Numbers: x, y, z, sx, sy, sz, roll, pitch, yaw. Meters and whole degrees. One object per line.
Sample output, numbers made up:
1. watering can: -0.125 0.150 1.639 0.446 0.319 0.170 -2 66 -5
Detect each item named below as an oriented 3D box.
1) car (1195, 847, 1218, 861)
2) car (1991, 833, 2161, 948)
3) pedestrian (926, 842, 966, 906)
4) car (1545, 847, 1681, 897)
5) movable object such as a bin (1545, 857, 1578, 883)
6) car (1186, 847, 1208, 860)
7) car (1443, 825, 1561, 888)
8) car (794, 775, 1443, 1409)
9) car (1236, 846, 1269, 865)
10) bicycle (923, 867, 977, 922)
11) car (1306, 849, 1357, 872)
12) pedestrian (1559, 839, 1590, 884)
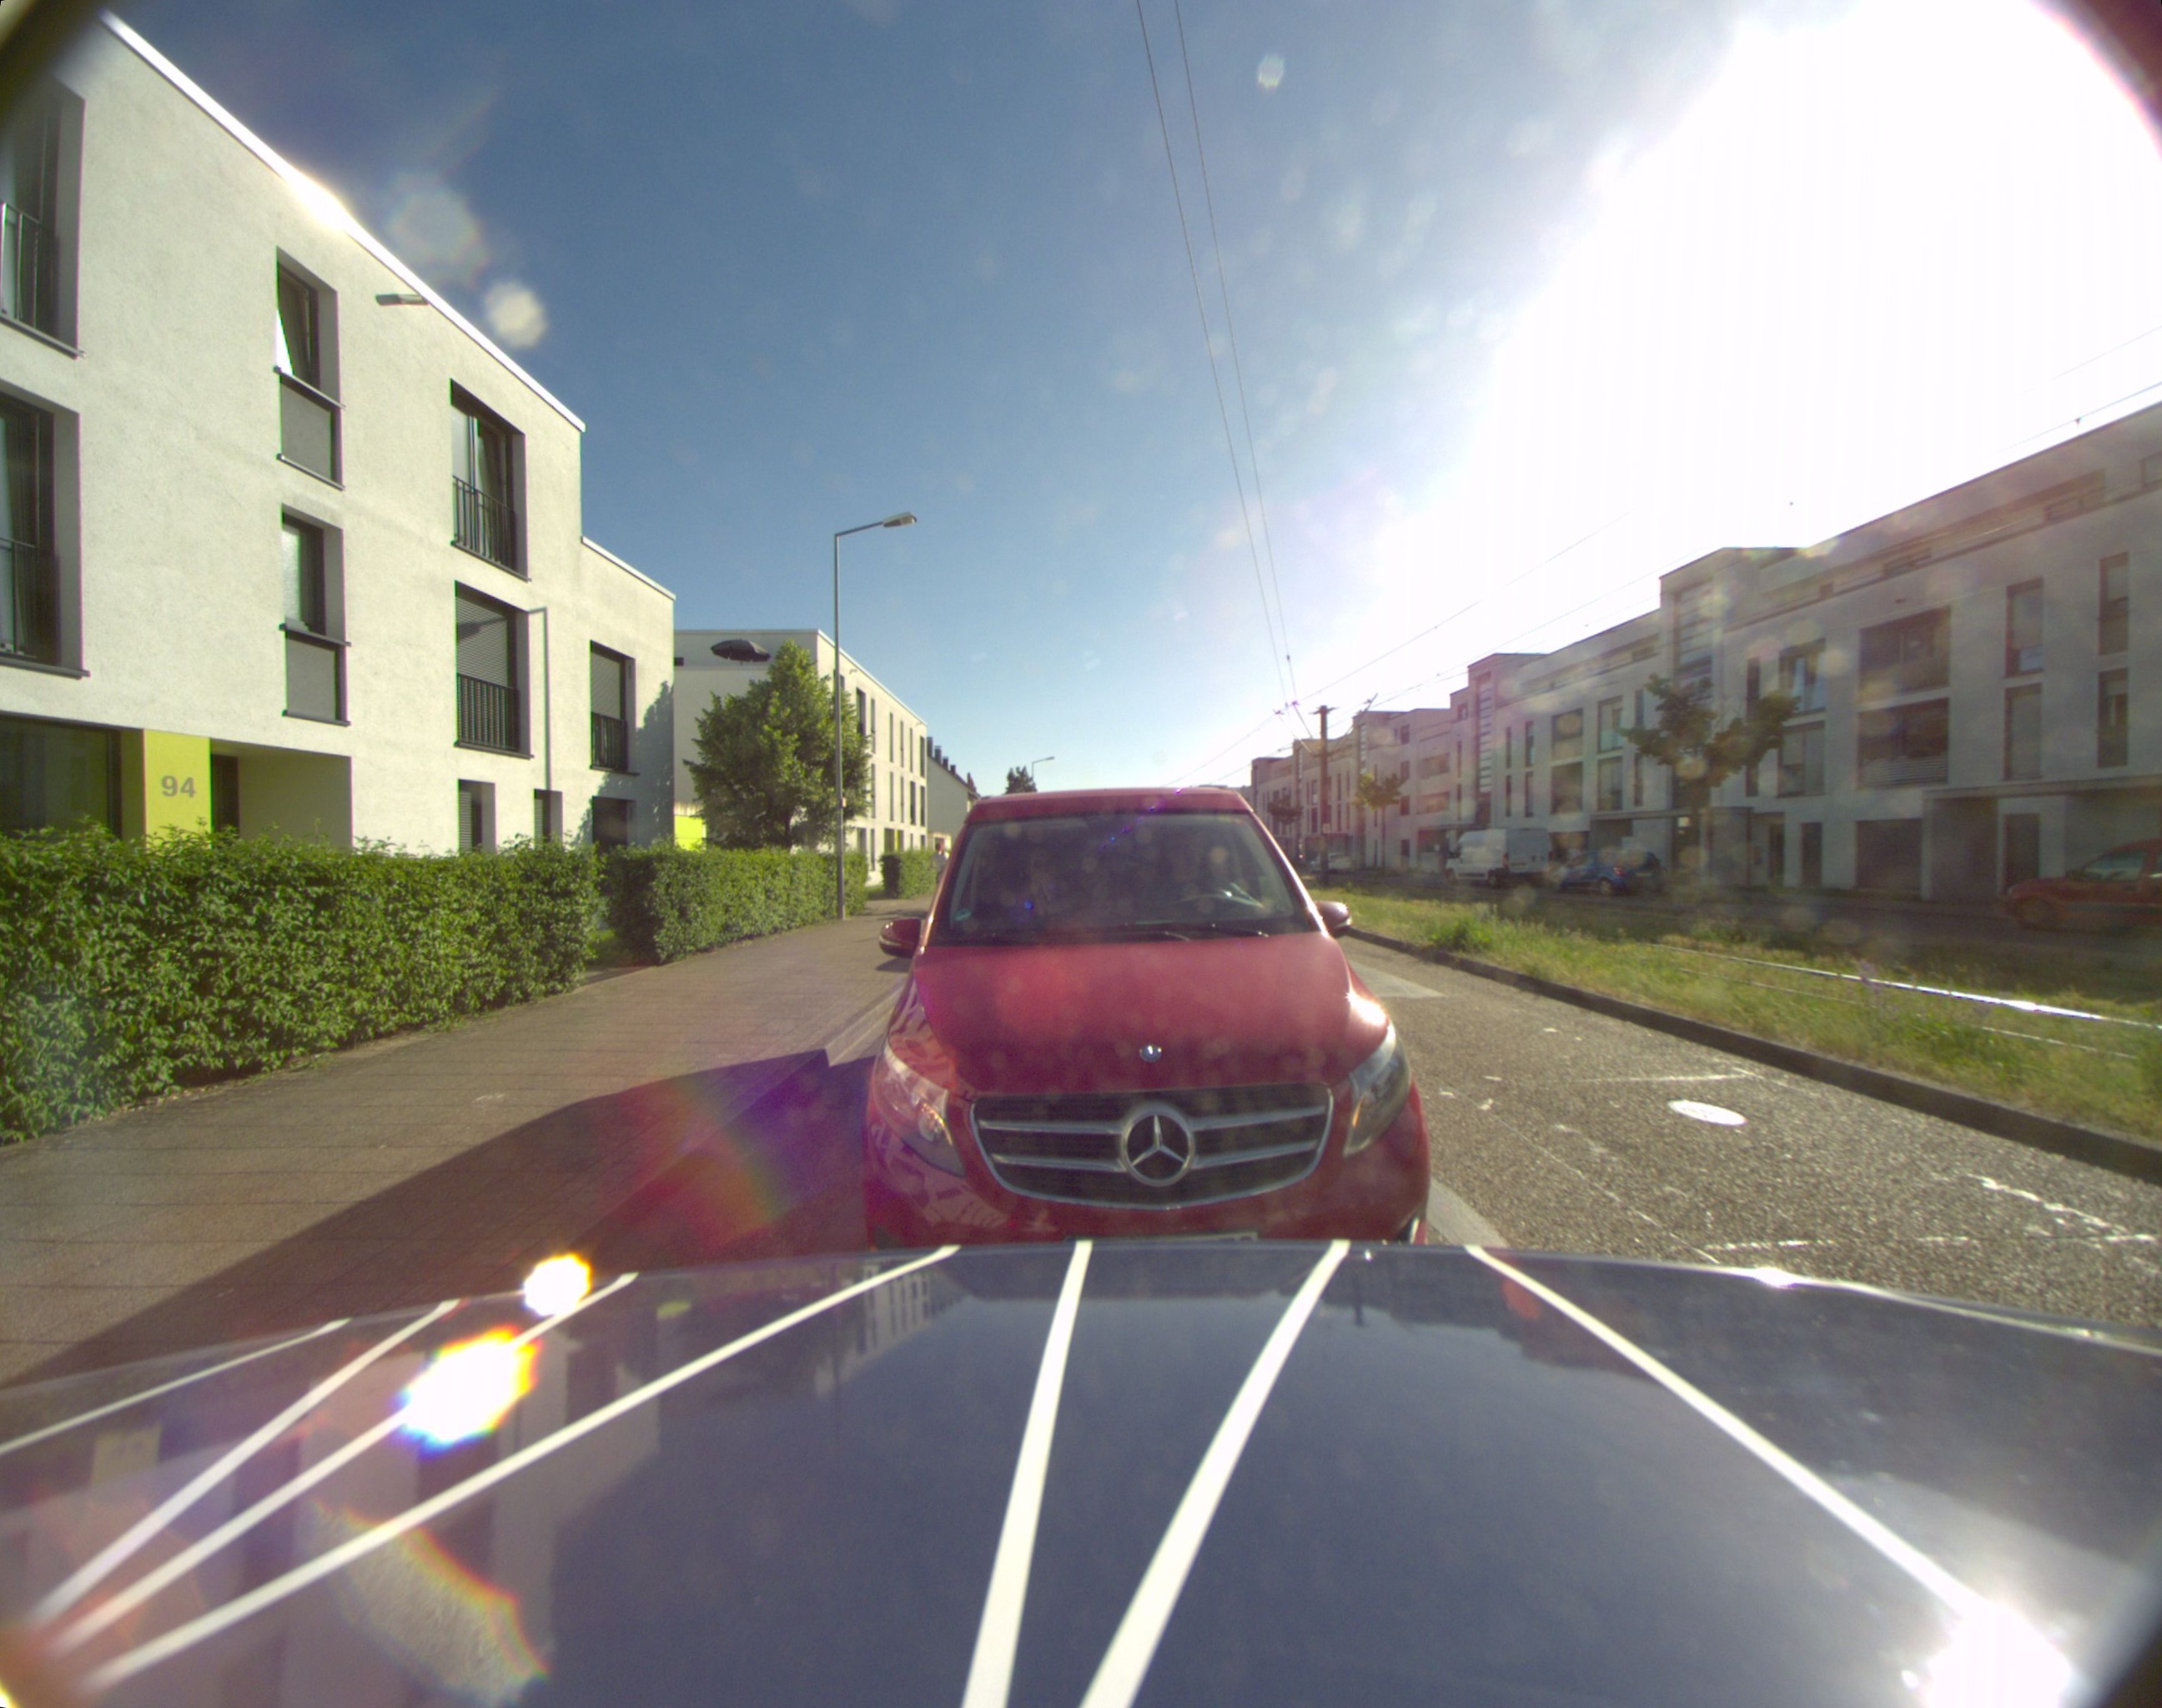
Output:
1. car: 15.467 -0.042 93.881 1.923 1.671 4.282 -2 1 -4
2. car: 18.612 0.578 12.784 1.998 1.817 3.895 -2 1 3
3. pedestrian: -3.407 0.489 19.134 0.914 1.585 0.853 0 1 -17
4. car: 18.371 0.574 26.475 1.999 1.536 3.835 -2 1 0
5. movable object such as a bin: 20.547 0.656 32.490 0.729 1.048 1.083 -2 1 1
6. car: 15.180 -0.064 99.633 1.923 1.671 4.282 -2 1 -4
7. car: 18.163 0.073 33.146 2.225 2.458 5.195 -2 1 0
8. car: 0.148 0.698 4.525 1.874 1.843 4.506 -2 1 1
9. car: 16.712 0.129 74.330 1.923 1.671 4.282 -2 1 -4
10. bicycle: -3.268 0.936 18.665 0.932 1.166 3.120 0 1 -17
11. car: 17.628 0.412 53.715 1.923 1.497 4.282 -2 1 -4
12. pedestrian: 20.486 0.289 31.547 0.776 1.812 0.785 -2 1 1
